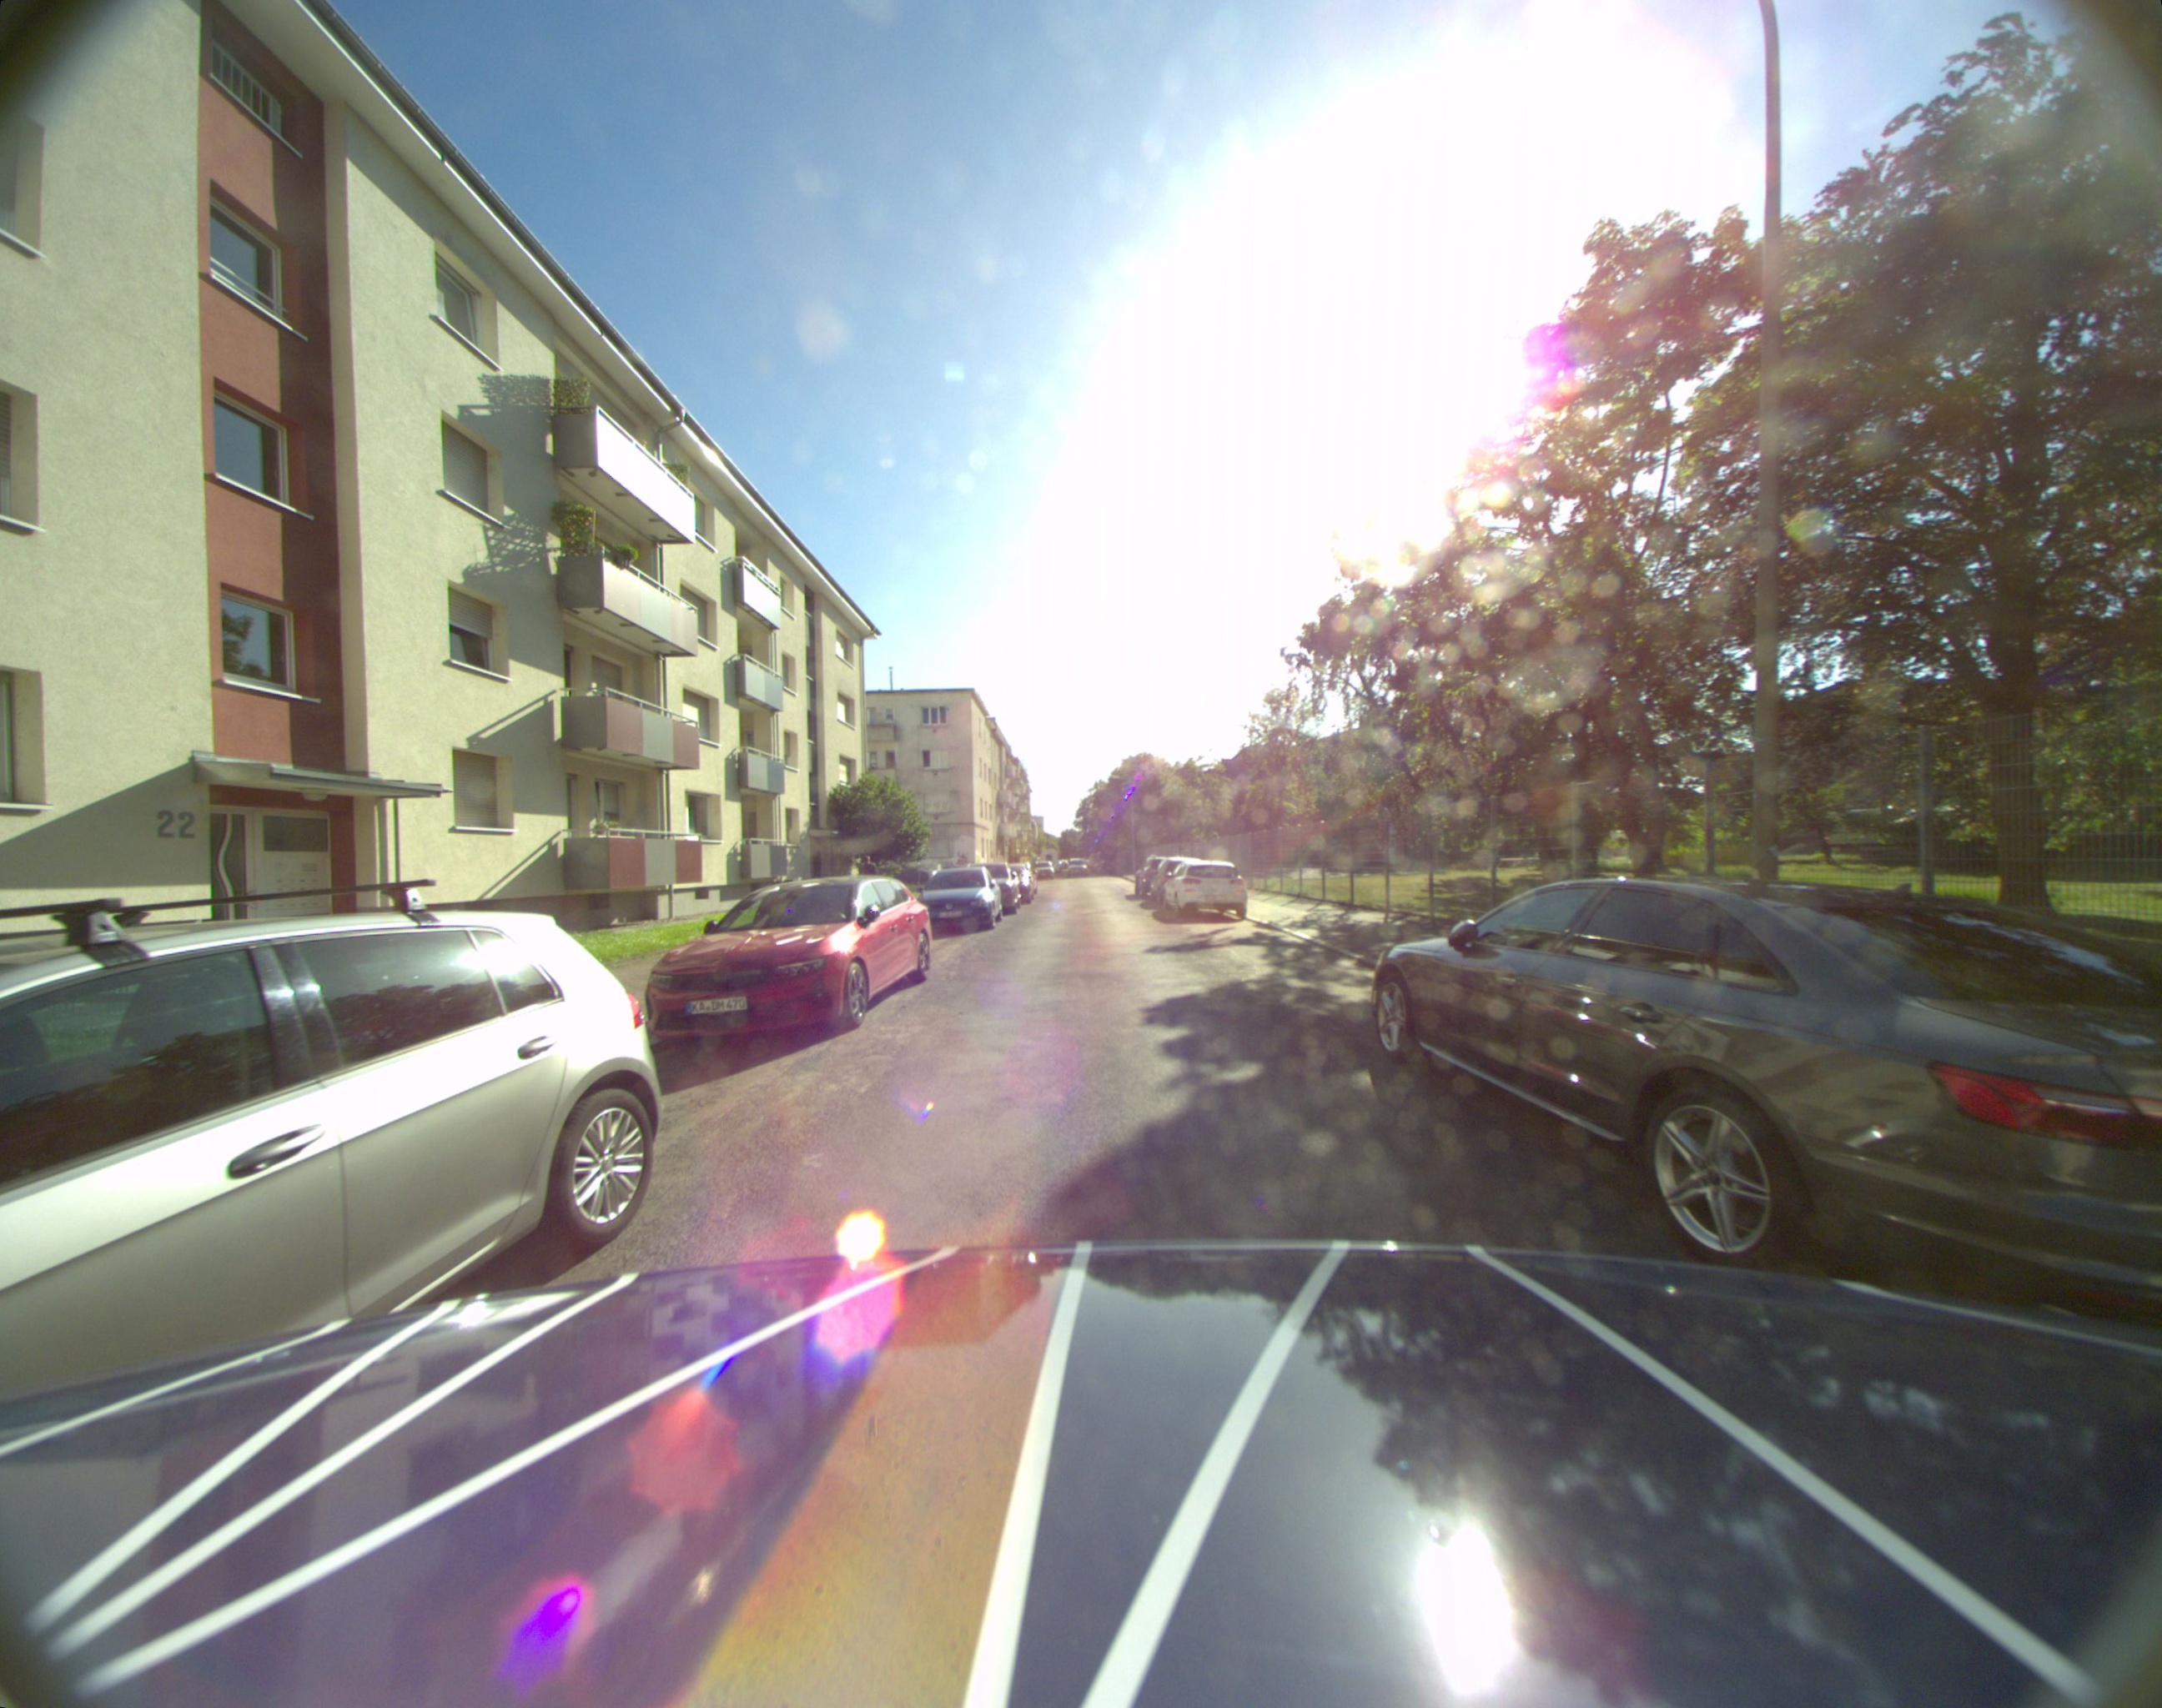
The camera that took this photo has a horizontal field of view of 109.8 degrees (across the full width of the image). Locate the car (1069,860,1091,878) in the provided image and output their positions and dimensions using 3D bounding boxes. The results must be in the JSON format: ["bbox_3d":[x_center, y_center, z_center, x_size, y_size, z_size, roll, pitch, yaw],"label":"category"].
[{"bbox_3d":[-0.149,1.349,69.146,1.862,1.543,3.999,-1,0,-2],"label":"car"}]

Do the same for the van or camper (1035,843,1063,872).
[{"bbox_3d":[-3.728,0.466,89.606,2.958,3.160,6.173,2,-1,-1],"label":"van or camper"}]

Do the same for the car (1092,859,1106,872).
[{"bbox_3d":[2.372,1.471,99.655,1.652,1.674,3.999,1,0,-2],"label":"car"}]

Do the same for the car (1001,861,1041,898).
[{"bbox_3d":[-2.756,1.146,35.497,1.622,1.539,4.085,1,0,-1],"label":"car"}]

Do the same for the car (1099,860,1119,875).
[{"bbox_3d":[2.764,1.346,75.518,1.652,1.408,3.999,0,0,-2],"label":"car"}]

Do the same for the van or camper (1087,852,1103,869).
[{"bbox_3d":[1.979,0.921,112.075,2.126,2.484,3.999,1,0,-2],"label":"van or camper"}]

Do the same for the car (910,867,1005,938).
[{"bbox_3d":[-2.830,1.070,18.239,1.757,1.472,4.079,0,0,-2],"label":"car"}]

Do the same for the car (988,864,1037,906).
[{"bbox_3d":[-2.560,1.145,29.221,1.609,1.475,3.797,0,0,-1],"label":"car"}]

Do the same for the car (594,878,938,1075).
[{"bbox_3d":[-2.936,1.042,8.308,1.756,1.435,4.524,1,0,2],"label":"car"}]

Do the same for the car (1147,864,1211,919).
[{"bbox_3d":[3.302,1.218,26.175,1.568,1.633,3.615,4,0,-1],"label":"car"}]

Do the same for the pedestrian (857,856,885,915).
[{"bbox_3d":[-6.414,0.939,23.222,0.647,1.761,0.841,0,0,-1],"label":"pedestrian"}]

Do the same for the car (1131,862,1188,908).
[{"bbox_3d":[3.159,1.196,31.205,1.717,1.654,4.164,4,0,-1],"label":"car"}]

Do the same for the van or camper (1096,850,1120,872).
[{"bbox_3d":[2.822,0.754,81.420,2.212,2.267,5.309,0,0,-2],"label":"van or camper"}]

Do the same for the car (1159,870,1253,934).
[{"bbox_3d":[3.299,1.224,20.806,1.798,1.436,4.120,3,0,0],"label":"car"}]

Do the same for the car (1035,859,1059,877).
[{"bbox_3d":[-2.995,1.181,66.822,2.070,1.544,3.999,0,0,-2],"label":"car"}]

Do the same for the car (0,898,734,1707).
[{"bbox_3d":[-2.815,1.051,1.808,1.903,1.612,4.602,-2,0,-1],"label":"car"}]

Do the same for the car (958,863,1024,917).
[{"bbox_3d":[-2.751,1.063,24.028,1.757,1.550,4.254,0,0,-2],"label":"car"}]

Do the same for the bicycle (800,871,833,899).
[{"bbox_3d":[-9.553,1.105,27.524,0.486,0.955,2.283,2,-1,-3],"label":"bicycle"}]

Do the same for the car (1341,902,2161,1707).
[{"bbox_3d":[3.054,1.140,3.828,1.799,1.462,4.502,3,0,-1],"label":"car"}]

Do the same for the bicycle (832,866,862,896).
[{"bbox_3d":[-8.420,0.963,27.449,0.486,1.006,2.283,2,-1,-3],"label":"bicycle"}]
